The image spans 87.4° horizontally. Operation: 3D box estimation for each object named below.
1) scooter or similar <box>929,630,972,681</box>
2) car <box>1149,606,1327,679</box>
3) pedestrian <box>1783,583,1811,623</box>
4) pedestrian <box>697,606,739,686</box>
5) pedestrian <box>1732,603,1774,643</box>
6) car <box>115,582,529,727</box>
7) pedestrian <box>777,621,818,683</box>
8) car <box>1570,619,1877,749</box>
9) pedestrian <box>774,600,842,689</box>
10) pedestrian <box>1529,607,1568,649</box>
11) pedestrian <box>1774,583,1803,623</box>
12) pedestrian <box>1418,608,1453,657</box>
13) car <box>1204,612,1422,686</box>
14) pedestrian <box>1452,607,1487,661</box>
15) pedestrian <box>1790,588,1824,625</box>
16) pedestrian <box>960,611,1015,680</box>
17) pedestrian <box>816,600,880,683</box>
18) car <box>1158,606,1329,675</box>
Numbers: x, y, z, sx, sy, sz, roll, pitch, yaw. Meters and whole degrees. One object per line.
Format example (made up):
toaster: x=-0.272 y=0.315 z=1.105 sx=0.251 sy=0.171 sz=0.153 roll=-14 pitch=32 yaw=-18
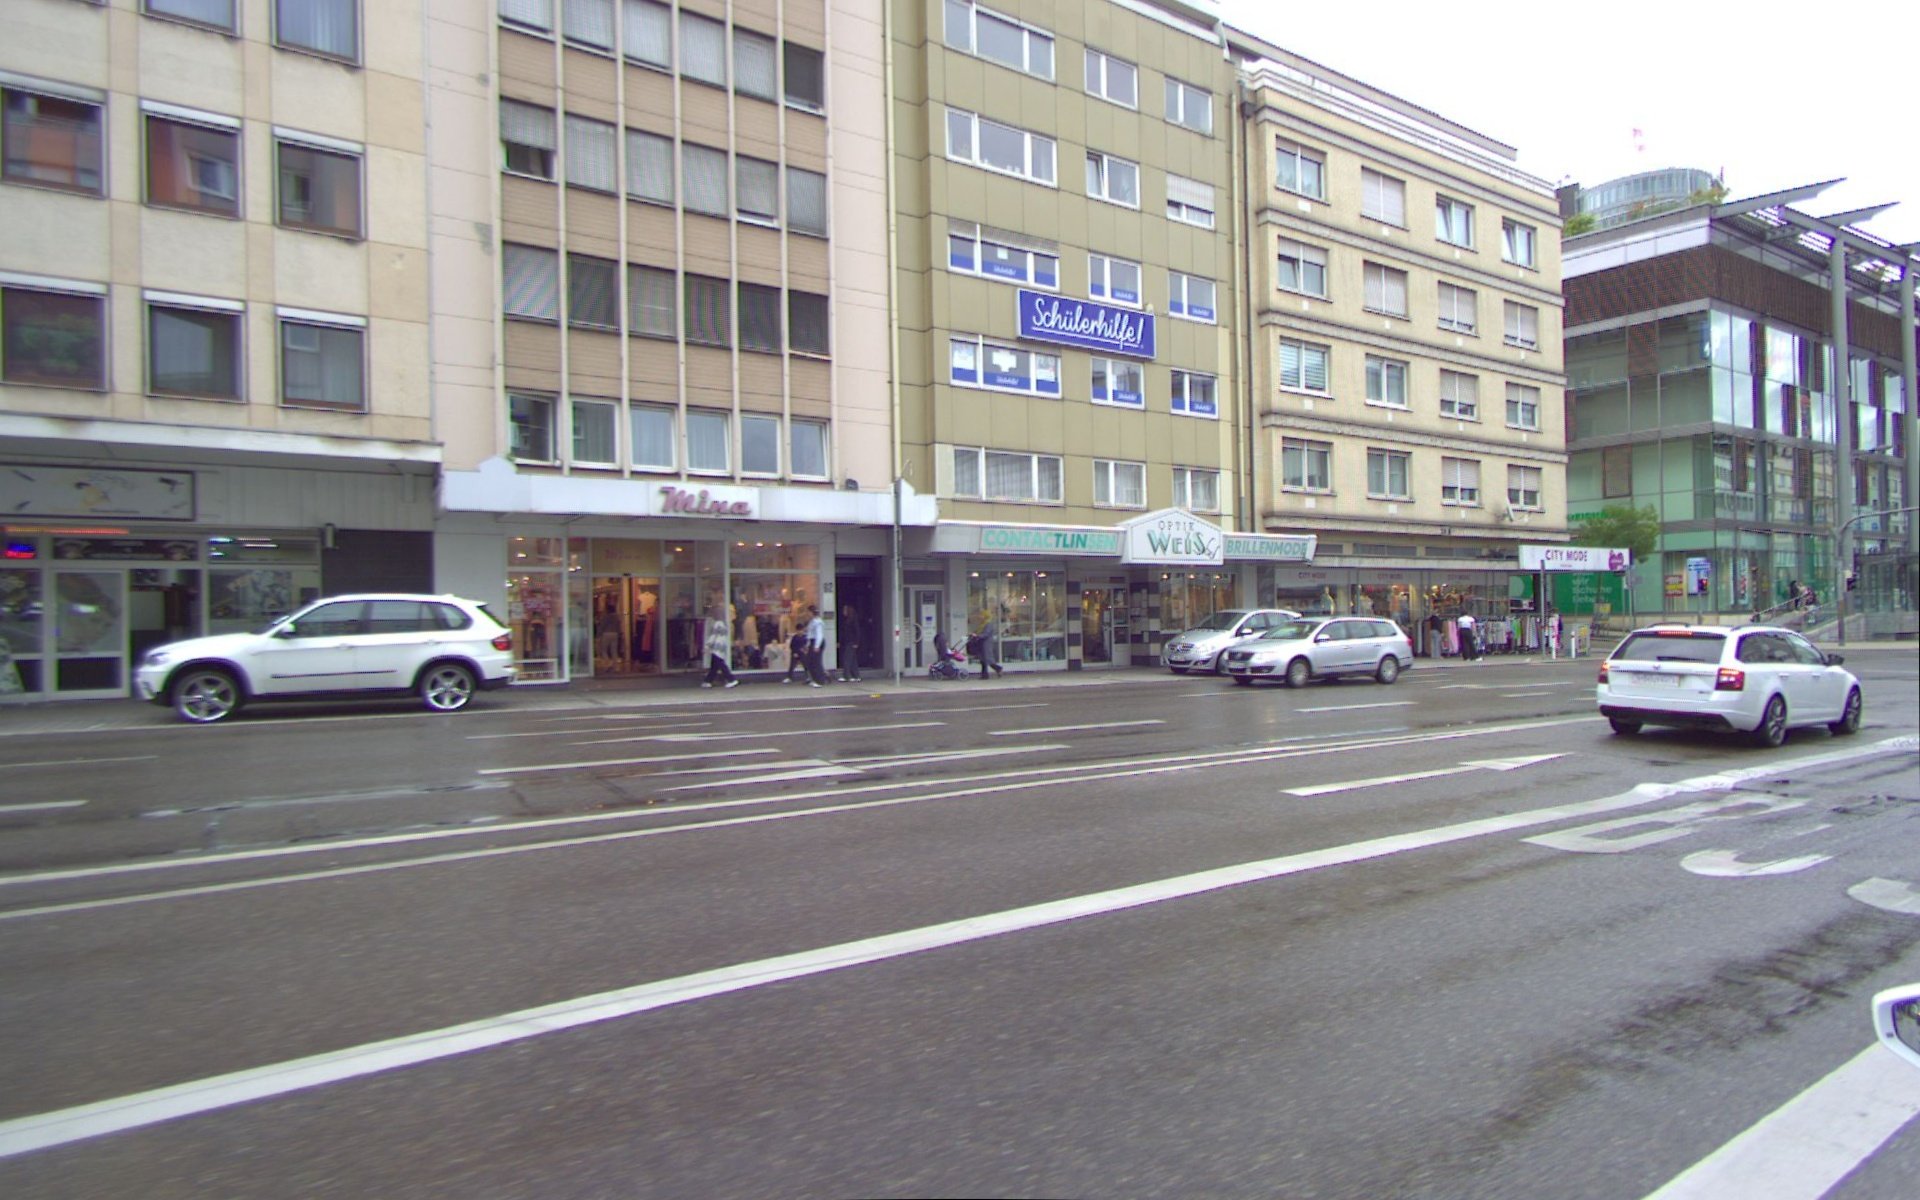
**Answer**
scooter or similar: x=-0.210 y=1.226 z=22.450 sx=0.693 sy=1.068 sz=0.732 roll=-1 pitch=1 yaw=-33
car: x=6.930 y=0.993 z=24.940 sx=4.351 sy=1.571 sz=1.837 roll=0 pitch=2 yaw=-32
pedestrian: x=42.607 y=0.163 z=51.157 sx=0.840 sy=2.007 sz=0.870 roll=1 pitch=0 yaw=-32
pedestrian: x=-4.900 y=0.924 z=20.375 sx=0.599 sy=1.595 sz=0.644 roll=0 pitch=0 yaw=14
pedestrian: x=35.170 y=0.998 z=44.552 sx=0.988 sy=1.736 sz=1.041 roll=1 pitch=0 yaw=-4
car: x=-9.162 y=0.718 z=14.917 sx=4.906 sy=1.851 sz=1.840 roll=1 pitch=0 yaw=-31
pedestrian: x=-3.465 y=1.085 z=21.366 sx=0.713 sy=1.266 sz=0.531 roll=-1 pitch=2 yaw=-33
car: x=10.177 y=0.982 z=13.300 sx=4.580 sy=1.434 sz=1.782 roll=0 pitch=-1 yaw=-33
pedestrian: x=-3.078 y=0.875 z=20.371 sx=1.079 sy=1.737 sz=0.946 roll=-1 pitch=2 yaw=-33
pedestrian: x=23.310 y=1.099 z=39.783 sx=1.140 sy=1.607 sz=0.868 roll=1 pitch=0 yaw=-28
pedestrian: x=41.786 y=0.149 z=50.676 sx=0.964 sy=2.007 sz=0.876 roll=1 pitch=0 yaw=-32
pedestrian: x=15.460 y=1.039 z=32.672 sx=0.674 sy=1.557 sz=0.780 roll=0 pitch=1 yaw=-33
car: x=7.755 y=1.009 z=21.995 sx=4.692 sy=1.465 sz=1.779 roll=1 pitch=0 yaw=-27
pedestrian: x=16.180 y=1.067 z=31.924 sx=0.828 sy=1.649 sz=0.775 roll=1 pitch=0 yaw=15
pedestrian: x=39.781 y=0.314 z=47.173 sx=0.998 sy=1.736 sz=1.031 roll=1 pitch=0 yaw=-37
pedestrian: x=0.621 y=1.015 z=22.774 sx=1.054 sy=1.504 sz=0.663 roll=-1 pitch=2 yaw=-33
pedestrian: x=-2.434 y=0.875 z=21.753 sx=1.075 sy=1.718 sz=0.946 roll=-1 pitch=2 yaw=-33
car: x=7.069 y=0.952 z=24.944 sx=4.152 sy=1.584 sz=1.692 roll=1 pitch=0 yaw=-30
